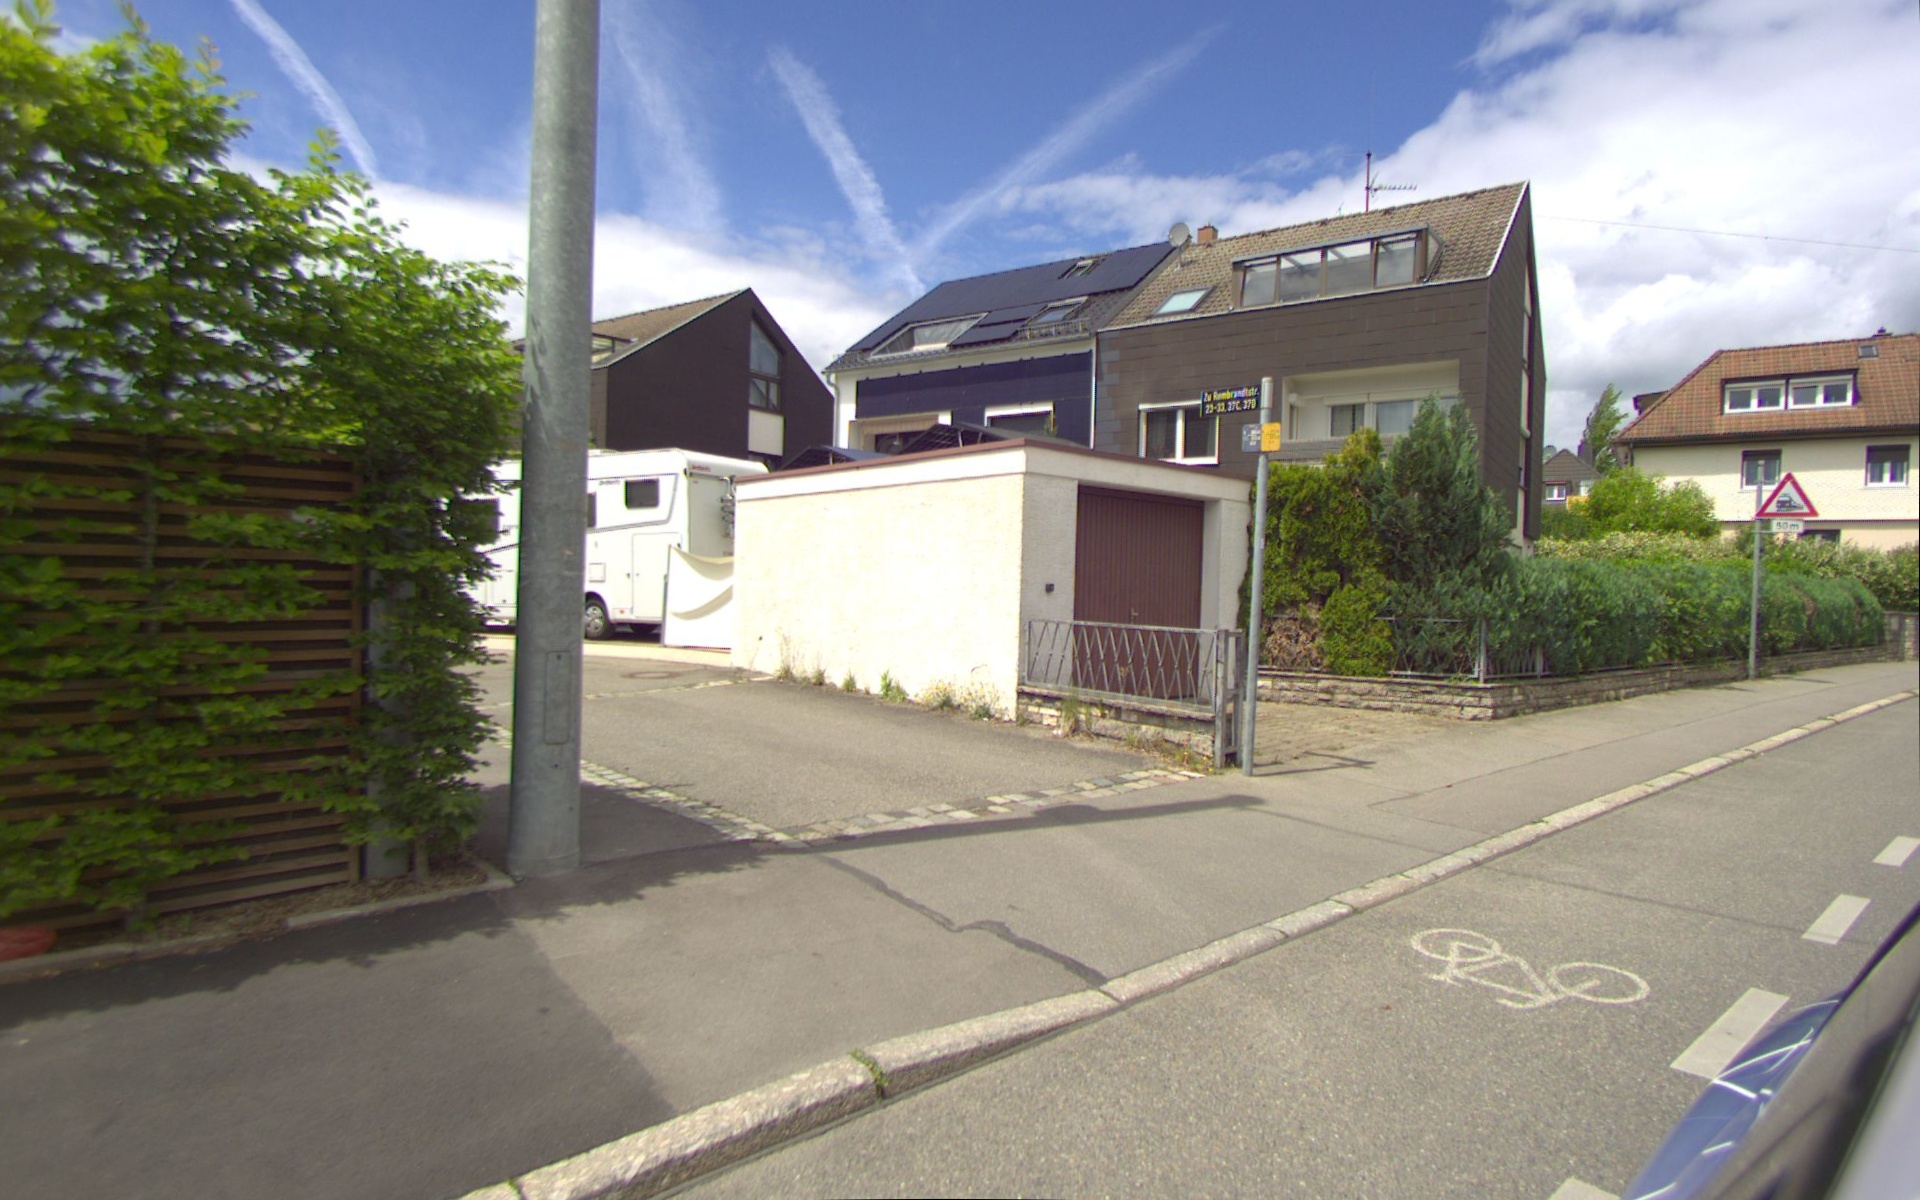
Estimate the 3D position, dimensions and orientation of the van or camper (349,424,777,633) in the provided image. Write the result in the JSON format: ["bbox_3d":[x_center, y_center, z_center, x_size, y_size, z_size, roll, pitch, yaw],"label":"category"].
[{"bbox_3d":[-7.697,-1.135,19.186,8.594,3.344,2.398,0,0,26],"label":"van or camper"}]
